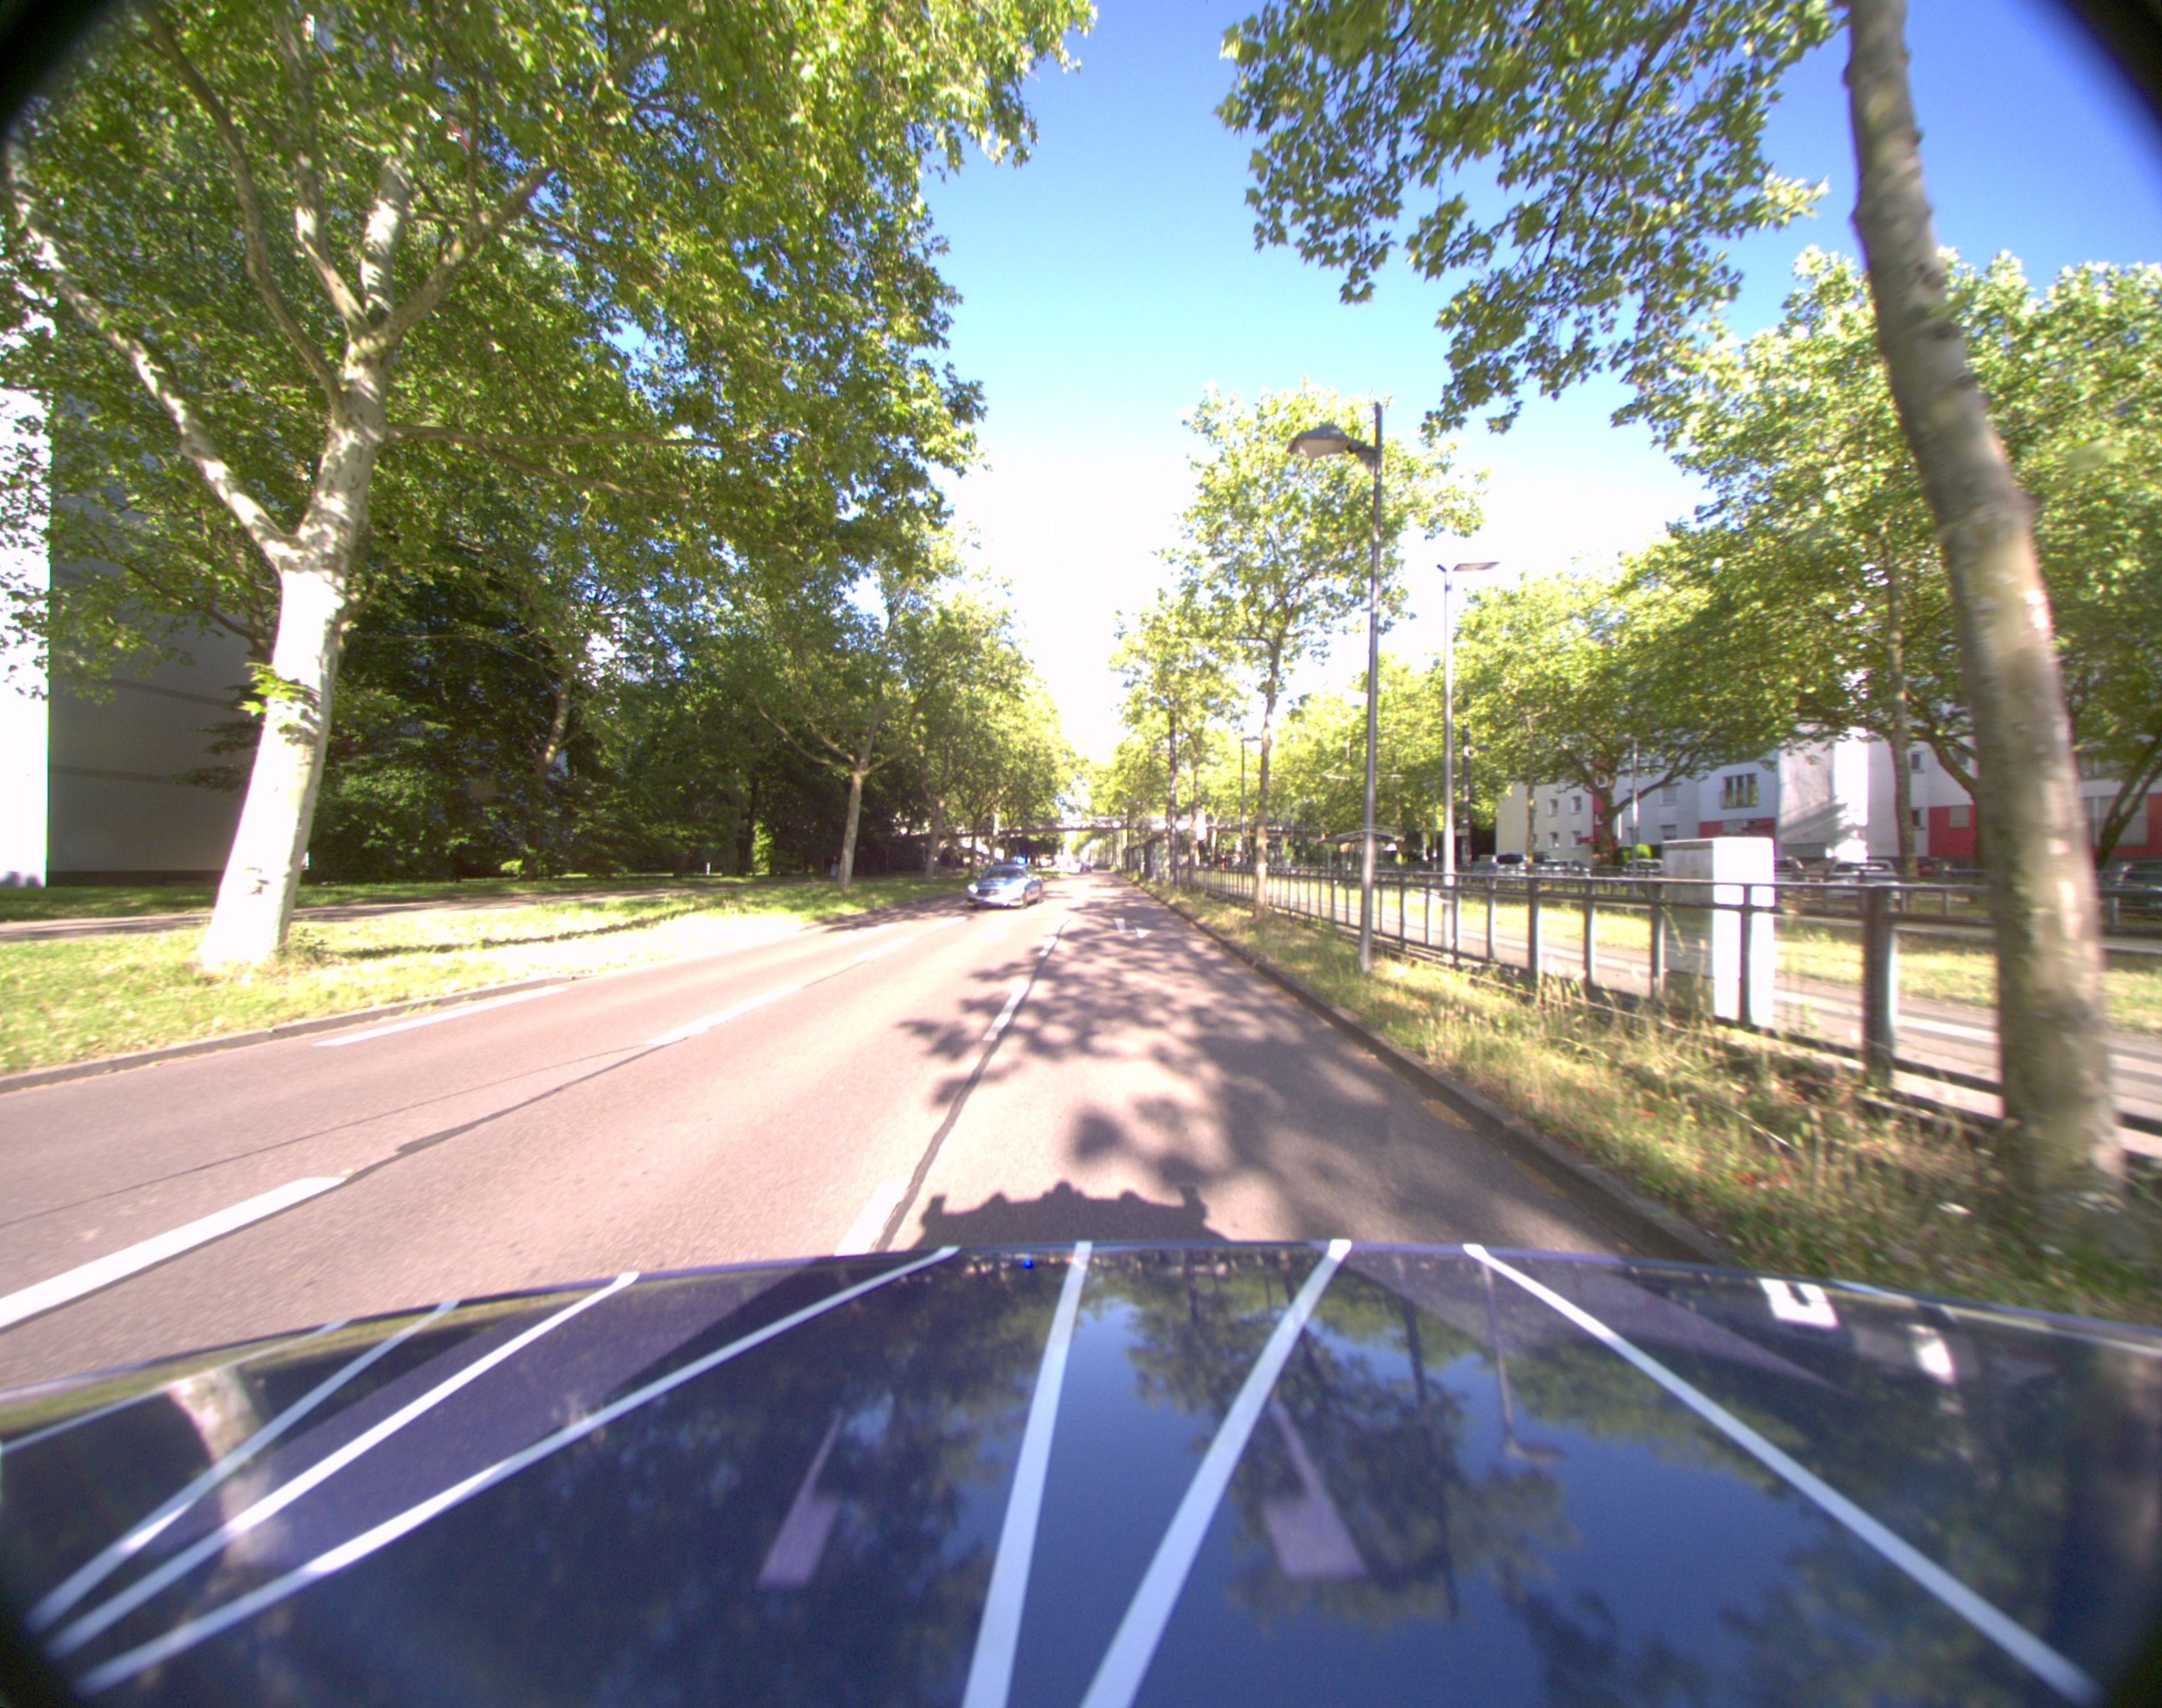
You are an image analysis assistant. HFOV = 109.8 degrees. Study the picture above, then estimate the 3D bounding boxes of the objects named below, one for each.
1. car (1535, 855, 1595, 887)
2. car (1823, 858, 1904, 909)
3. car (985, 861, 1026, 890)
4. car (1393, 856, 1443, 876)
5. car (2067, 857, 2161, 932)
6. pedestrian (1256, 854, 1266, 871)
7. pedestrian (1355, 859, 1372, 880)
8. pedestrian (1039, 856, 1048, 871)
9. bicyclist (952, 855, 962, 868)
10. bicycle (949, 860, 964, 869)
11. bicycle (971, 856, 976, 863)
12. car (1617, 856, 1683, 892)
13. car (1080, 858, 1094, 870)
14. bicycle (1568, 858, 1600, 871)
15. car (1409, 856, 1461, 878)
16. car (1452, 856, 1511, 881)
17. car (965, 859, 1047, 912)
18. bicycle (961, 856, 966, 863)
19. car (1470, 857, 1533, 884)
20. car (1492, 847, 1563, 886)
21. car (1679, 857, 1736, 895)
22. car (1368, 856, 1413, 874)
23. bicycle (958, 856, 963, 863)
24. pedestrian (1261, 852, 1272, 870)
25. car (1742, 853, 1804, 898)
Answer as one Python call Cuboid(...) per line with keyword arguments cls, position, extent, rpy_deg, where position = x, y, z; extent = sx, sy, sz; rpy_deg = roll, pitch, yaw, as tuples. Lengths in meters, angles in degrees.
Cuboid(cls="car", position=(25.964, 0.883, 40.677), extent=(4.068, 1.601, 1.685), rpy_deg=(-1, -1, -43))
Cuboid(cls="car", position=(25.122, 0.910, 24.498), extent=(1.571, 1.465, 4.069), rpy_deg=(-2, -1, 43))
Cuboid(cls="car", position=(-4.187, 1.169, 42.687), extent=(1.780, 1.474, 4.101), rpy_deg=(-2, -1, 1))
Cuboid(cls="car", position=(26.334, 0.946, 59.263), extent=(4.208, 1.420, 1.696), rpy_deg=(-1, -1, -37))
Cuboid(cls="car", position=(24.690, 0.875, 17.546), extent=(1.642, 1.535, 4.184), rpy_deg=(-2, -1, 43))
Cuboid(cls="pedestrian", position=(16.583, 0.776, 69.933), extent=(0.644, 1.505, 0.683), rpy_deg=(1, 0, -12))
Cuboid(cls="pedestrian", position=(15.949, 0.878, 42.946), extent=(0.696, 1.121, 0.662), rpy_deg=(3, 1, 2))
Cuboid(cls="pedestrian", position=(-4.376, 1.087, 88.396), extent=(0.658, 1.766, 0.741), rpy_deg=(-1, -1, 38))
Cuboid(cls="bicyclist", position=(-16.371, 0.974, 100.001), extent=(0.954, 1.622, 0.817), rpy_deg=(2, 0, 37))
Cuboid(cls="bicycle", position=(-16.408, 1.388, 100.012), extent=(1.831, 1.140, 0.817), rpy_deg=(2, -1, 37))
Cuboid(cls="bicycle", position=(-19.437, 0.945, 137.488), extent=(0.577, 1.246, 1.806), rpy_deg=(-1, 0, -1))
Cuboid(cls="car", position=(25.839, 0.865, 34.446), extent=(1.895, 1.495, 4.510), rpy_deg=(-2, -1, 43))
Cuboid(cls="car", position=(0.819, 1.369, 105.092), extent=(1.898, 1.601, 4.000), rpy_deg=(-1, 0, 0))
Cuboid(cls="bicycle", position=(38.720, 0.814, 58.526), extent=(0.697, 0.922, 2.595), rpy_deg=(-1, -1, -2))
Cuboid(cls="car", position=(26.310, 0.957, 56.473), extent=(4.208, 1.420, 1.696), rpy_deg=(-1, -1, -37))
Cuboid(cls="car", position=(26.676, 0.954, 50.532), extent=(4.509, 1.489, 1.895), rpy_deg=(-1, -1, -41))
Cuboid(cls="car", position=(-2.448, 0.991, 26.027), extent=(1.897, 1.623, 4.503), rpy_deg=(-1, 0, 6))
Cuboid(cls="bicycle", position=(-20.993, 0.915, 135.398), extent=(0.577, 1.246, 1.806), rpy_deg=(-1, 0, -1))
Cuboid(cls="car", position=(26.040, 0.983, 46.956), extent=(4.509, 1.489, 1.895), rpy_deg=(-1, -1, -41))
Cuboid(cls="car", position=(25.657, 0.707, 43.601), extent=(4.508, 2.051, 1.895), rpy_deg=(-1, -1, -37))
Cuboid(cls="car", position=(25.892, 0.874, 31.360), extent=(1.571, 1.424, 4.069), rpy_deg=(-2, -1, 43))
Cuboid(cls="car", position=(26.943, 0.966, 66.094), extent=(4.208, 1.420, 1.696), rpy_deg=(-1, -1, -37))
Cuboid(cls="bicycle", position=(-20.483, 0.921, 128.809), extent=(0.577, 1.246, 1.806), rpy_deg=(-1, 0, -1))
Cuboid(cls="pedestrian", position=(16.964, 0.660, 69.470), extent=(0.731, 1.625, 0.715), rpy_deg=(1, 1, -1))
Cuboid(cls="car", position=(25.685, 0.768, 28.205), extent=(1.571, 1.559, 4.069), rpy_deg=(-2, -1, 43))
